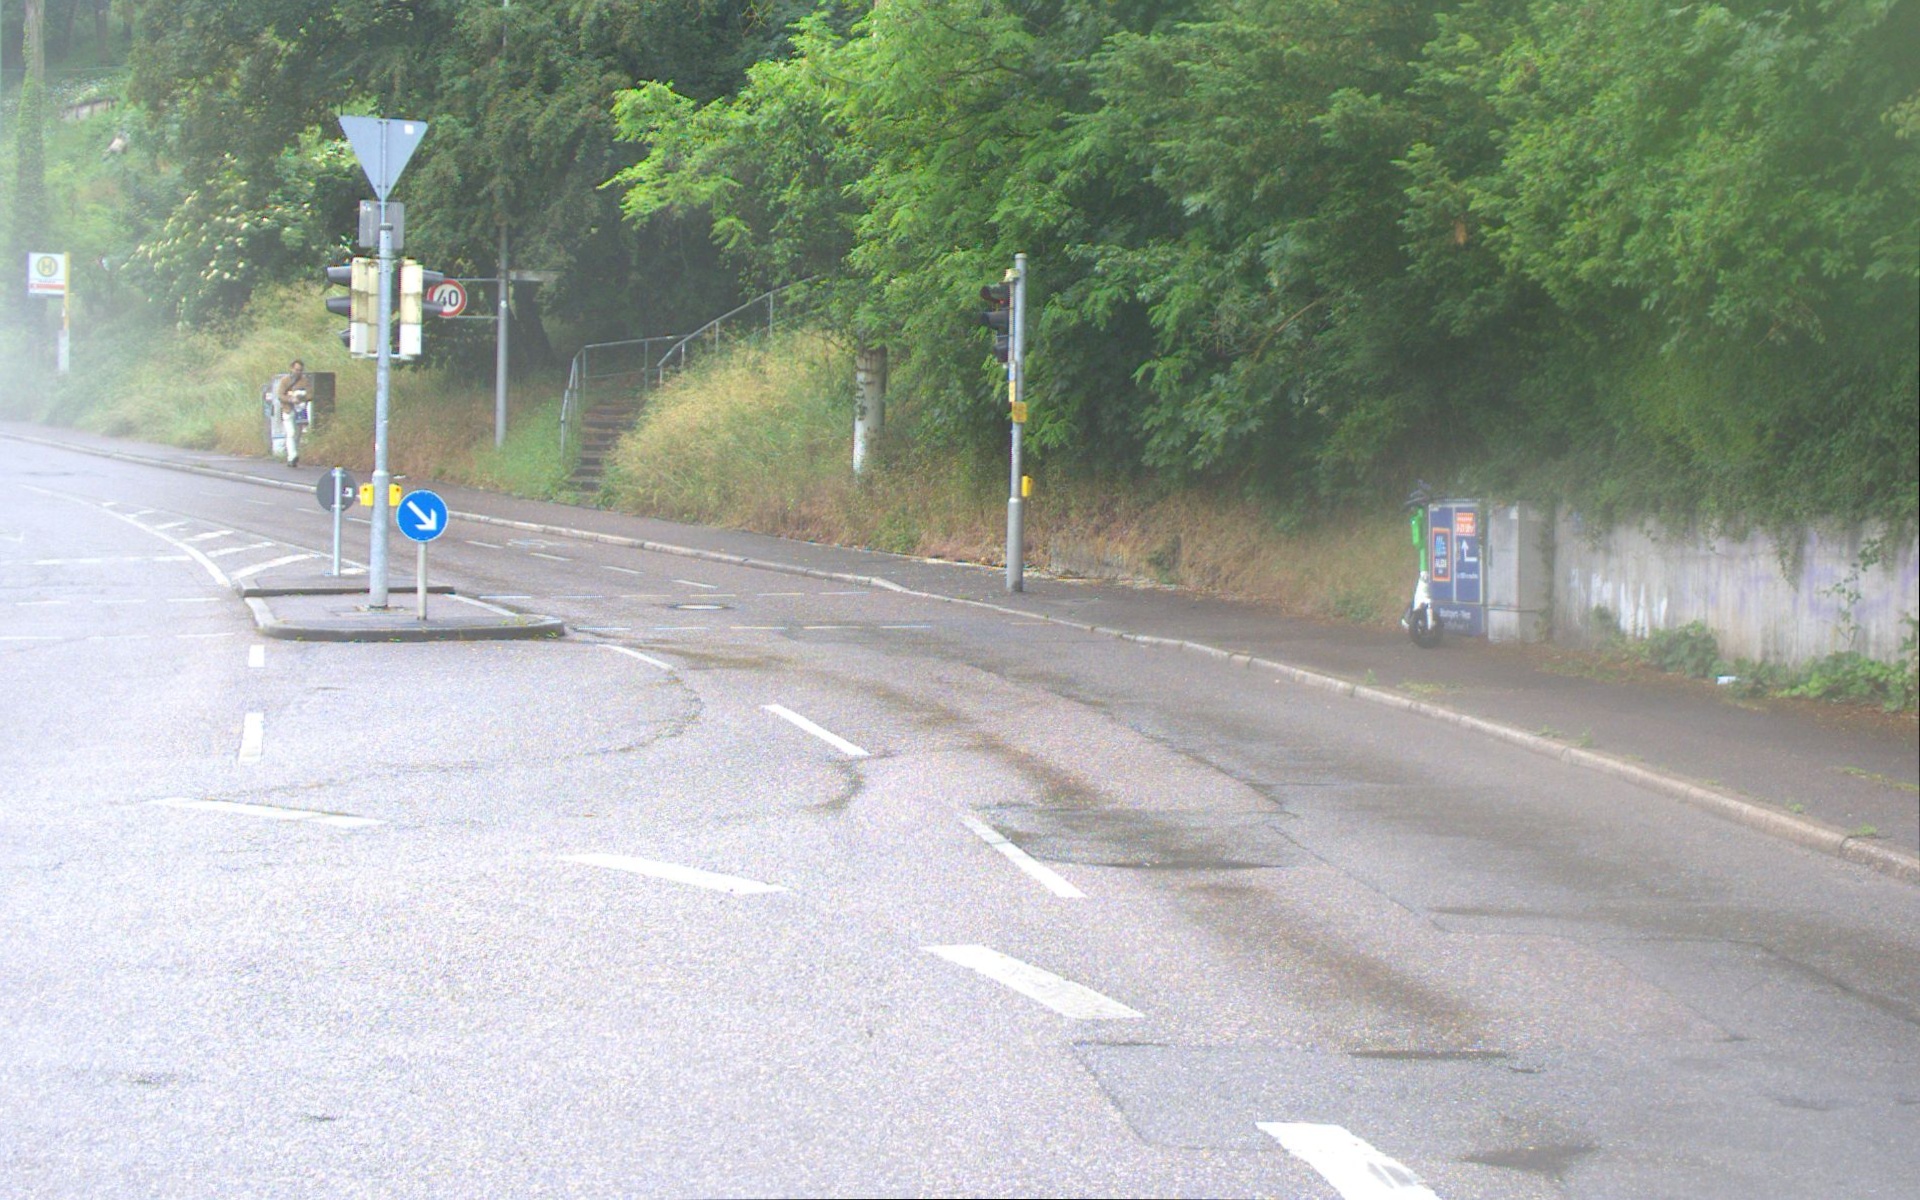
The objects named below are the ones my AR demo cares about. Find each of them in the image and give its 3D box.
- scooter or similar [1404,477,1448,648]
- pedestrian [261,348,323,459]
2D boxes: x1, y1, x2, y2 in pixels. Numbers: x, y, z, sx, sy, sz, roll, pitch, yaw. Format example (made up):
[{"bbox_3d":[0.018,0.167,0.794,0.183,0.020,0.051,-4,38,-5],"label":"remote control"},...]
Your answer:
[{"bbox_3d":[3.586,-0.298,26.483,0.322,1.275,0.751,0,4,7],"label":"scooter or similar"},{"bbox_3d":[-10.783,-3.164,55.457,0.880,1.730,0.866,0,0,-17],"label":"pedestrian"}]
